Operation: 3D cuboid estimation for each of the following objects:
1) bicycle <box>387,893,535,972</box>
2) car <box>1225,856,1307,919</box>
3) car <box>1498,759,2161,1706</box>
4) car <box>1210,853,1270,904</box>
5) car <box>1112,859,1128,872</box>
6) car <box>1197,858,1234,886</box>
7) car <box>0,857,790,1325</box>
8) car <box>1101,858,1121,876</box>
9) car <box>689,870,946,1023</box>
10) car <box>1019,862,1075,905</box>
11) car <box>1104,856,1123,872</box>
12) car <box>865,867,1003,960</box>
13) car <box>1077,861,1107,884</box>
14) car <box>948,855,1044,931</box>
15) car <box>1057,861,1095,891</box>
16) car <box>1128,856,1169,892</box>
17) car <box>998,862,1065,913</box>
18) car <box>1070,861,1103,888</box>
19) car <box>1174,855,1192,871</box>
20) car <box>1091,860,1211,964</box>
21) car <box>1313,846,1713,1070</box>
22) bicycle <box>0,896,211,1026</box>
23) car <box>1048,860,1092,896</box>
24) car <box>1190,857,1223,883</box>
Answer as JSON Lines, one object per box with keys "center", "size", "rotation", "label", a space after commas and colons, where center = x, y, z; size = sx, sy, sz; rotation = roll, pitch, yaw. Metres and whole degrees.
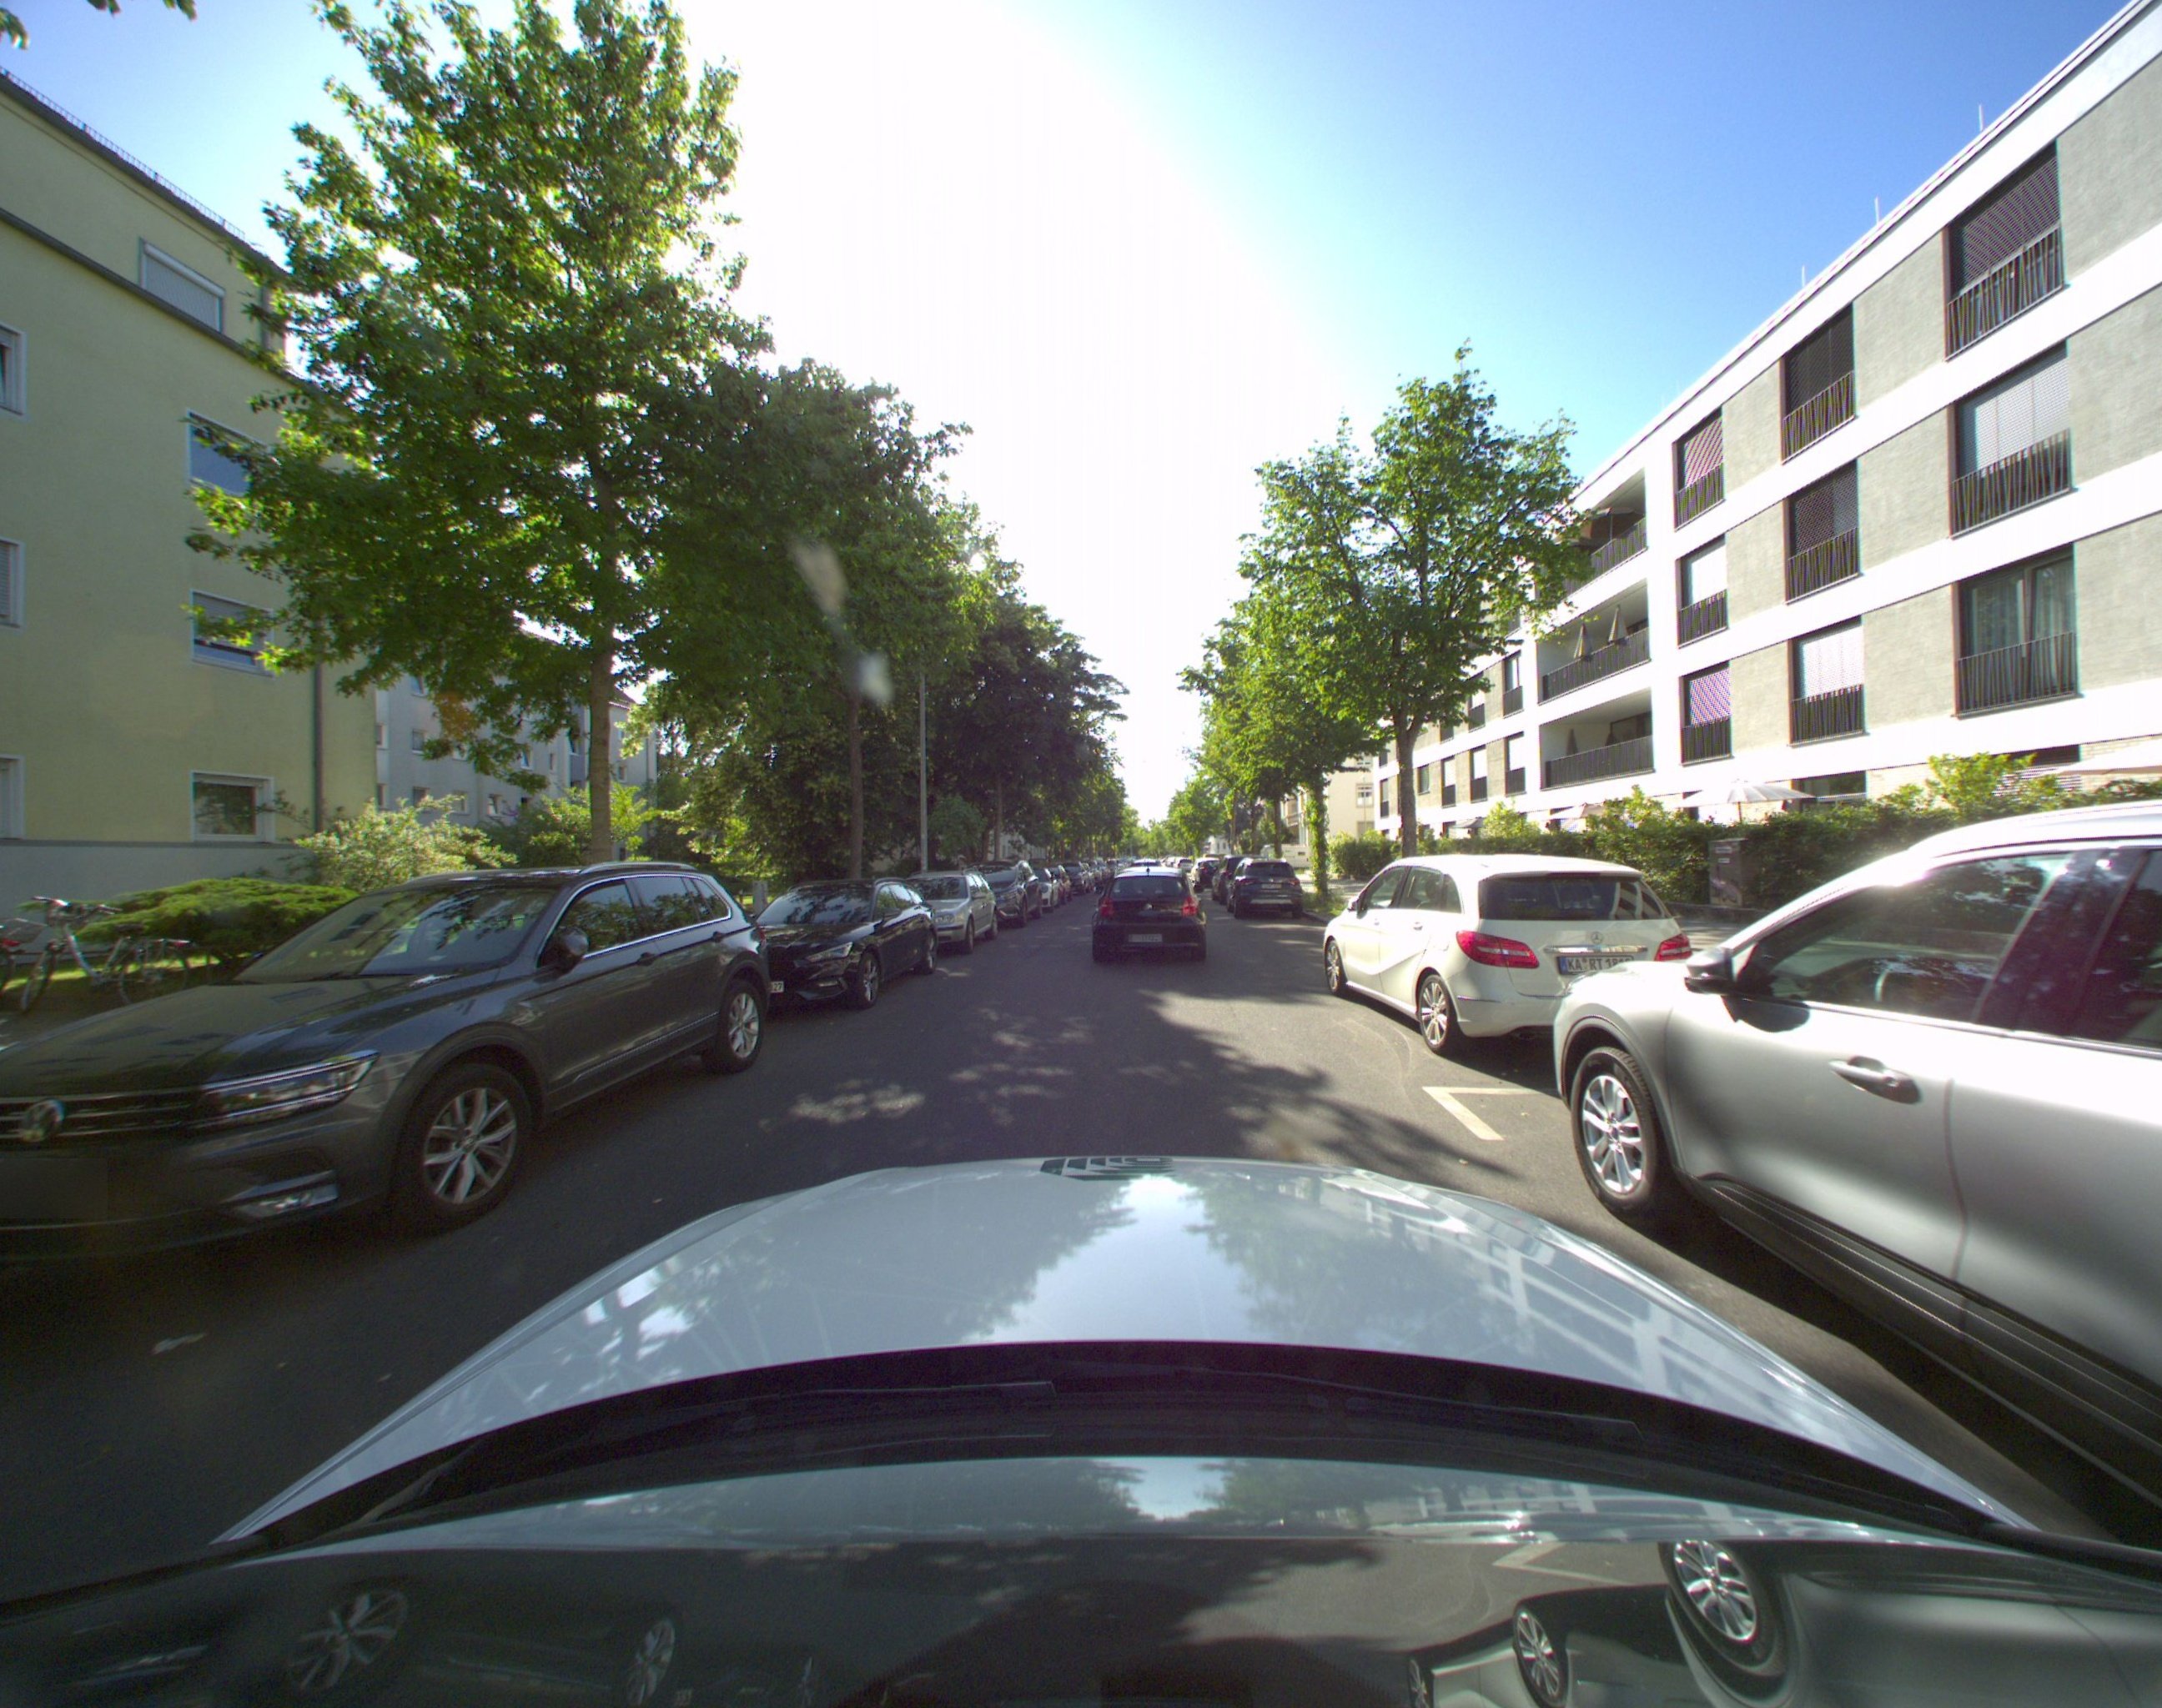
{"center": [-9.217, 1.130, 12.214], "size": [0.592, 0.991, 1.931], "rotation": [-2, 0, 5], "label": "bicycle"}
{"center": [4.889, 0.821, 22.012], "size": [1.712, 1.528, 4.007], "rotation": [0, 0, 6], "label": "car"}
{"center": [2.844, 0.649, 1.954], "size": [1.838, 1.631, 4.418], "rotation": [-1, -1, 7], "label": "car"}
{"center": [5.403, 0.787, 28.007], "size": [1.712, 1.641, 3.857], "rotation": [0, 0, 6], "label": "car"}
{"center": [4.335, 1.261, 91.190], "size": [1.605, 1.392, 3.870], "rotation": [-2, 0, 4], "label": "car"}
{"center": [7.070, 0.935, 43.060], "size": [1.712, 1.379, 3.857], "rotation": [0, 0, 6], "label": "car"}
{"center": [-3.472, 0.865, 5.006], "size": [1.605, 1.611, 4.232], "rotation": [-3, 0, 3], "label": "car"}
{"center": [2.662, 1.126, 71.556], "size": [1.605, 1.392, 3.870], "rotation": [-3, 0, 4], "label": "car"}
{"center": [-3.020, 0.982, 10.301], "size": [1.605, 1.427, 4.063], "rotation": [-3, 0, 4], "label": "car"}
{"center": [-1.229, 1.089, 31.102], "size": [1.605, 1.452, 3.870], "rotation": [-3, 0, 4], "label": "car"}
{"center": [3.081, 0.958, 76.973], "size": [1.605, 1.392, 3.870], "rotation": [-3, 0, 4], "label": "car"}
{"center": [-2.619, 1.021, 15.387], "size": [1.605, 1.427, 3.730], "rotation": [-3, 0, 4], "label": "car"}
{"center": [0.736, 1.172, 52.685], "size": [1.605, 1.392, 3.870], "rotation": [-3, 0, 4], "label": "car"}
{"center": [-2.053, 0.899, 20.808], "size": [1.605, 1.679, 4.239], "rotation": [-3, 0, 4], "label": "car"}
{"center": [-0.216, 1.139, 42.917], "size": [1.605, 1.392, 3.870], "rotation": [-3, 0, 4], "label": "car"}
{"center": [3.030, 0.851, 36.094], "size": [1.641, 1.425, 4.008], "rotation": [-2, 0, 7], "label": "car"}
{"center": [-1.528, 1.033, 26.494], "size": [1.605, 1.452, 3.870], "rotation": [-3, 0, 4], "label": "car"}
{"center": [0.355, 1.171, 47.419], "size": [1.605, 1.392, 3.870], "rotation": [-3, 0, 4], "label": "car"}
{"center": [10.424, 0.901, 83.059], "size": [1.711, 1.480, 3.860], "rotation": [-2, 0, 8], "label": "car"}
{"center": [1.005, 0.831, 13.184], "size": [1.644, 1.397, 3.411], "rotation": [-2, 0, 1], "label": "car"}
{"center": [3.544, 0.730, 7.618], "size": [1.687, 1.524, 4.001], "rotation": [-1, 0, 1], "label": "car"}
{"center": [-10.649, 1.110, 8.527], "size": [2.142, 1.209, 0.689], "rotation": [-2, 0, -6], "label": "bicycle"}
{"center": [-0.458, 1.072, 37.985], "size": [1.605, 1.543, 3.870], "rotation": [-3, 0, 4], "label": "car"}
{"center": [7.324, 0.908, 47.850], "size": [1.712, 1.480, 3.857], "rotation": [0, 0, 6], "label": "car"}
